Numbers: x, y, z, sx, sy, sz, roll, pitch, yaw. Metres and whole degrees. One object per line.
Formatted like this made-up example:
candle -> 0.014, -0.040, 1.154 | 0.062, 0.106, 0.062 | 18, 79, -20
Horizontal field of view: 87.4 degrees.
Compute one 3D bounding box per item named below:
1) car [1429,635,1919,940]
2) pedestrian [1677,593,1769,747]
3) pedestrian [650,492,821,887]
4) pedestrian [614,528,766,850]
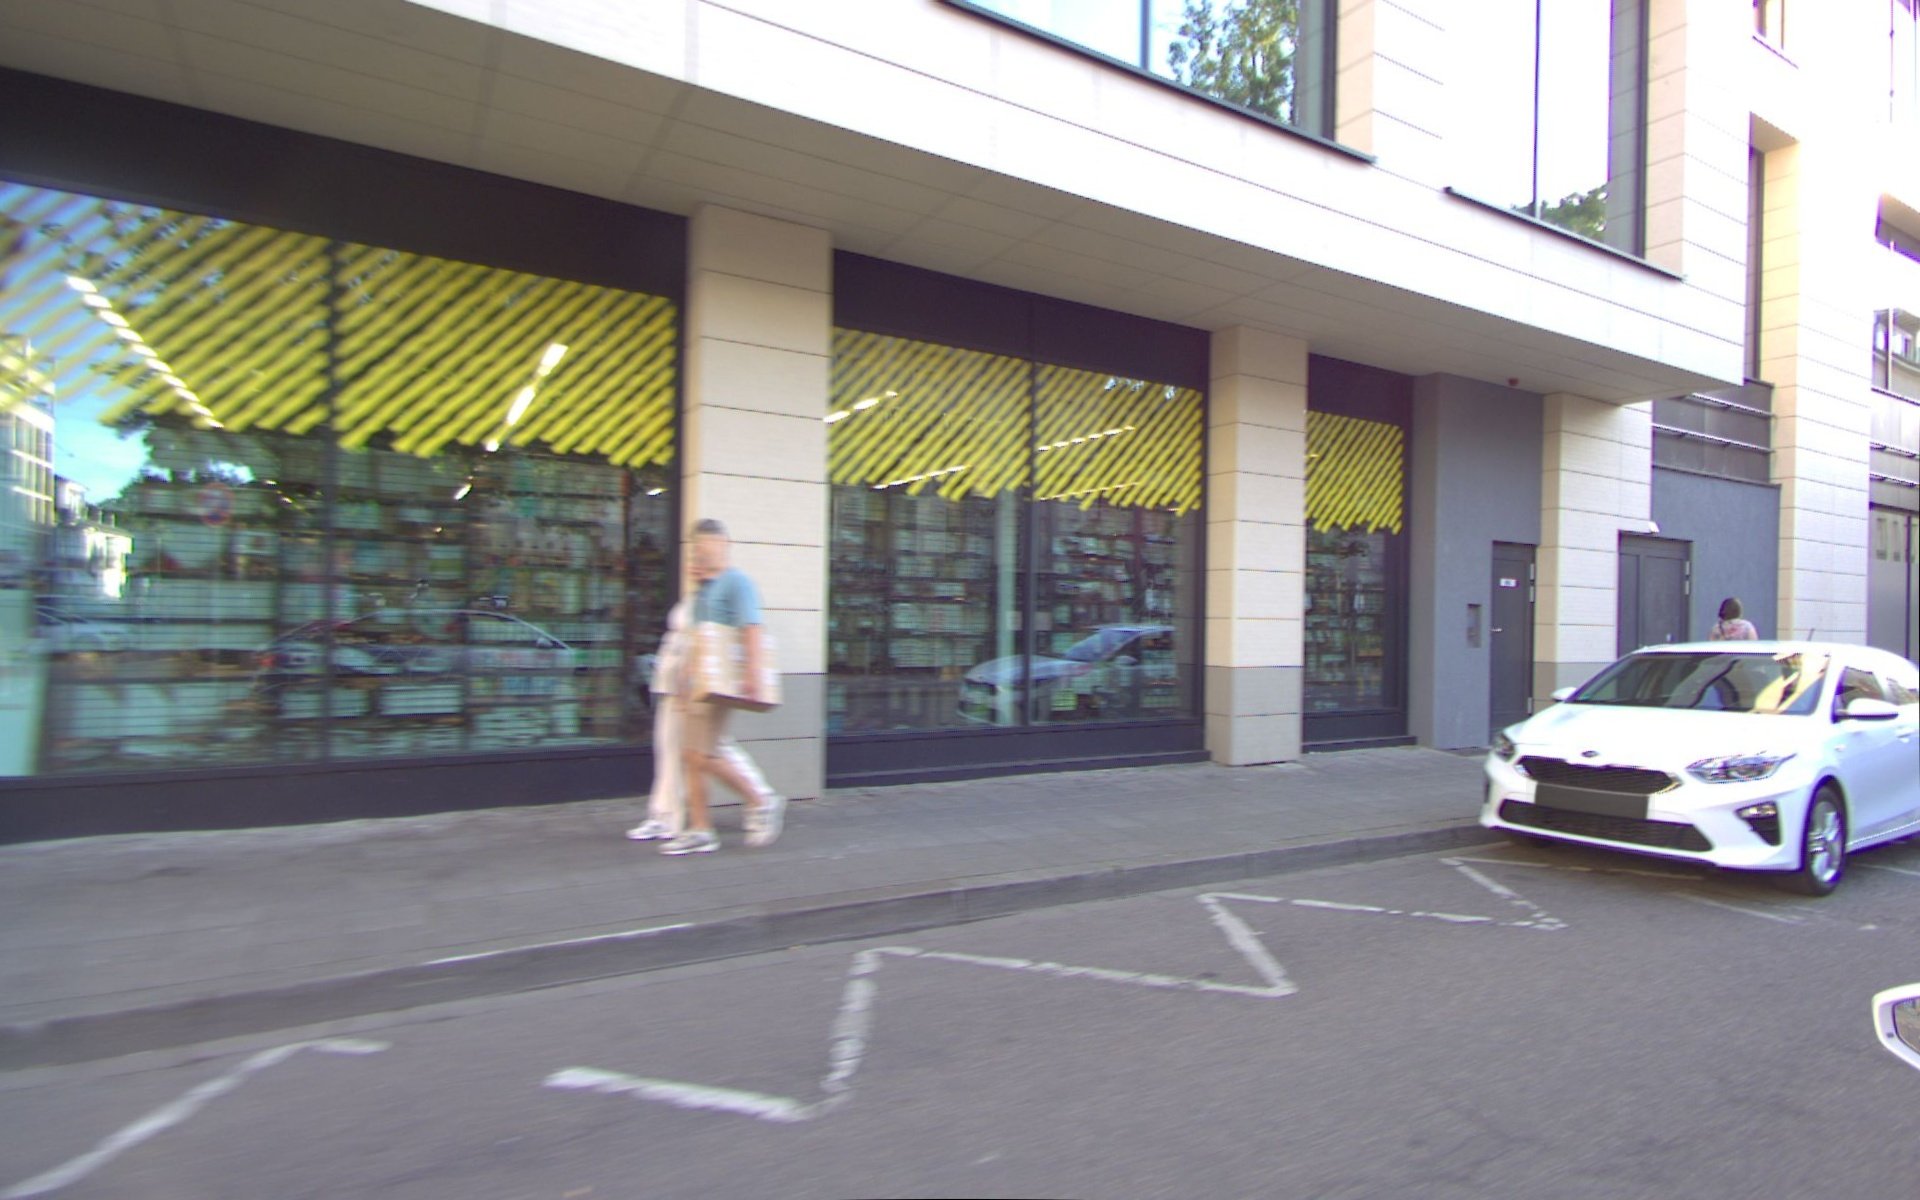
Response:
car -> 5.293, 1.013, 6.908 | 4.184, 1.472, 1.768 | 2, -1, -32
pedestrian -> 9.095, 0.808, 11.972 | 0.640, 1.767, 0.669 | 1, -1, -30
pedestrian -> -1.170, 0.426, 5.191 | 0.640, 1.861, 0.668 | 1, 0, -33
pedestrian -> -1.553, 0.473, 5.747 | 0.640, 1.697, 0.668 | 1, 0, -33
